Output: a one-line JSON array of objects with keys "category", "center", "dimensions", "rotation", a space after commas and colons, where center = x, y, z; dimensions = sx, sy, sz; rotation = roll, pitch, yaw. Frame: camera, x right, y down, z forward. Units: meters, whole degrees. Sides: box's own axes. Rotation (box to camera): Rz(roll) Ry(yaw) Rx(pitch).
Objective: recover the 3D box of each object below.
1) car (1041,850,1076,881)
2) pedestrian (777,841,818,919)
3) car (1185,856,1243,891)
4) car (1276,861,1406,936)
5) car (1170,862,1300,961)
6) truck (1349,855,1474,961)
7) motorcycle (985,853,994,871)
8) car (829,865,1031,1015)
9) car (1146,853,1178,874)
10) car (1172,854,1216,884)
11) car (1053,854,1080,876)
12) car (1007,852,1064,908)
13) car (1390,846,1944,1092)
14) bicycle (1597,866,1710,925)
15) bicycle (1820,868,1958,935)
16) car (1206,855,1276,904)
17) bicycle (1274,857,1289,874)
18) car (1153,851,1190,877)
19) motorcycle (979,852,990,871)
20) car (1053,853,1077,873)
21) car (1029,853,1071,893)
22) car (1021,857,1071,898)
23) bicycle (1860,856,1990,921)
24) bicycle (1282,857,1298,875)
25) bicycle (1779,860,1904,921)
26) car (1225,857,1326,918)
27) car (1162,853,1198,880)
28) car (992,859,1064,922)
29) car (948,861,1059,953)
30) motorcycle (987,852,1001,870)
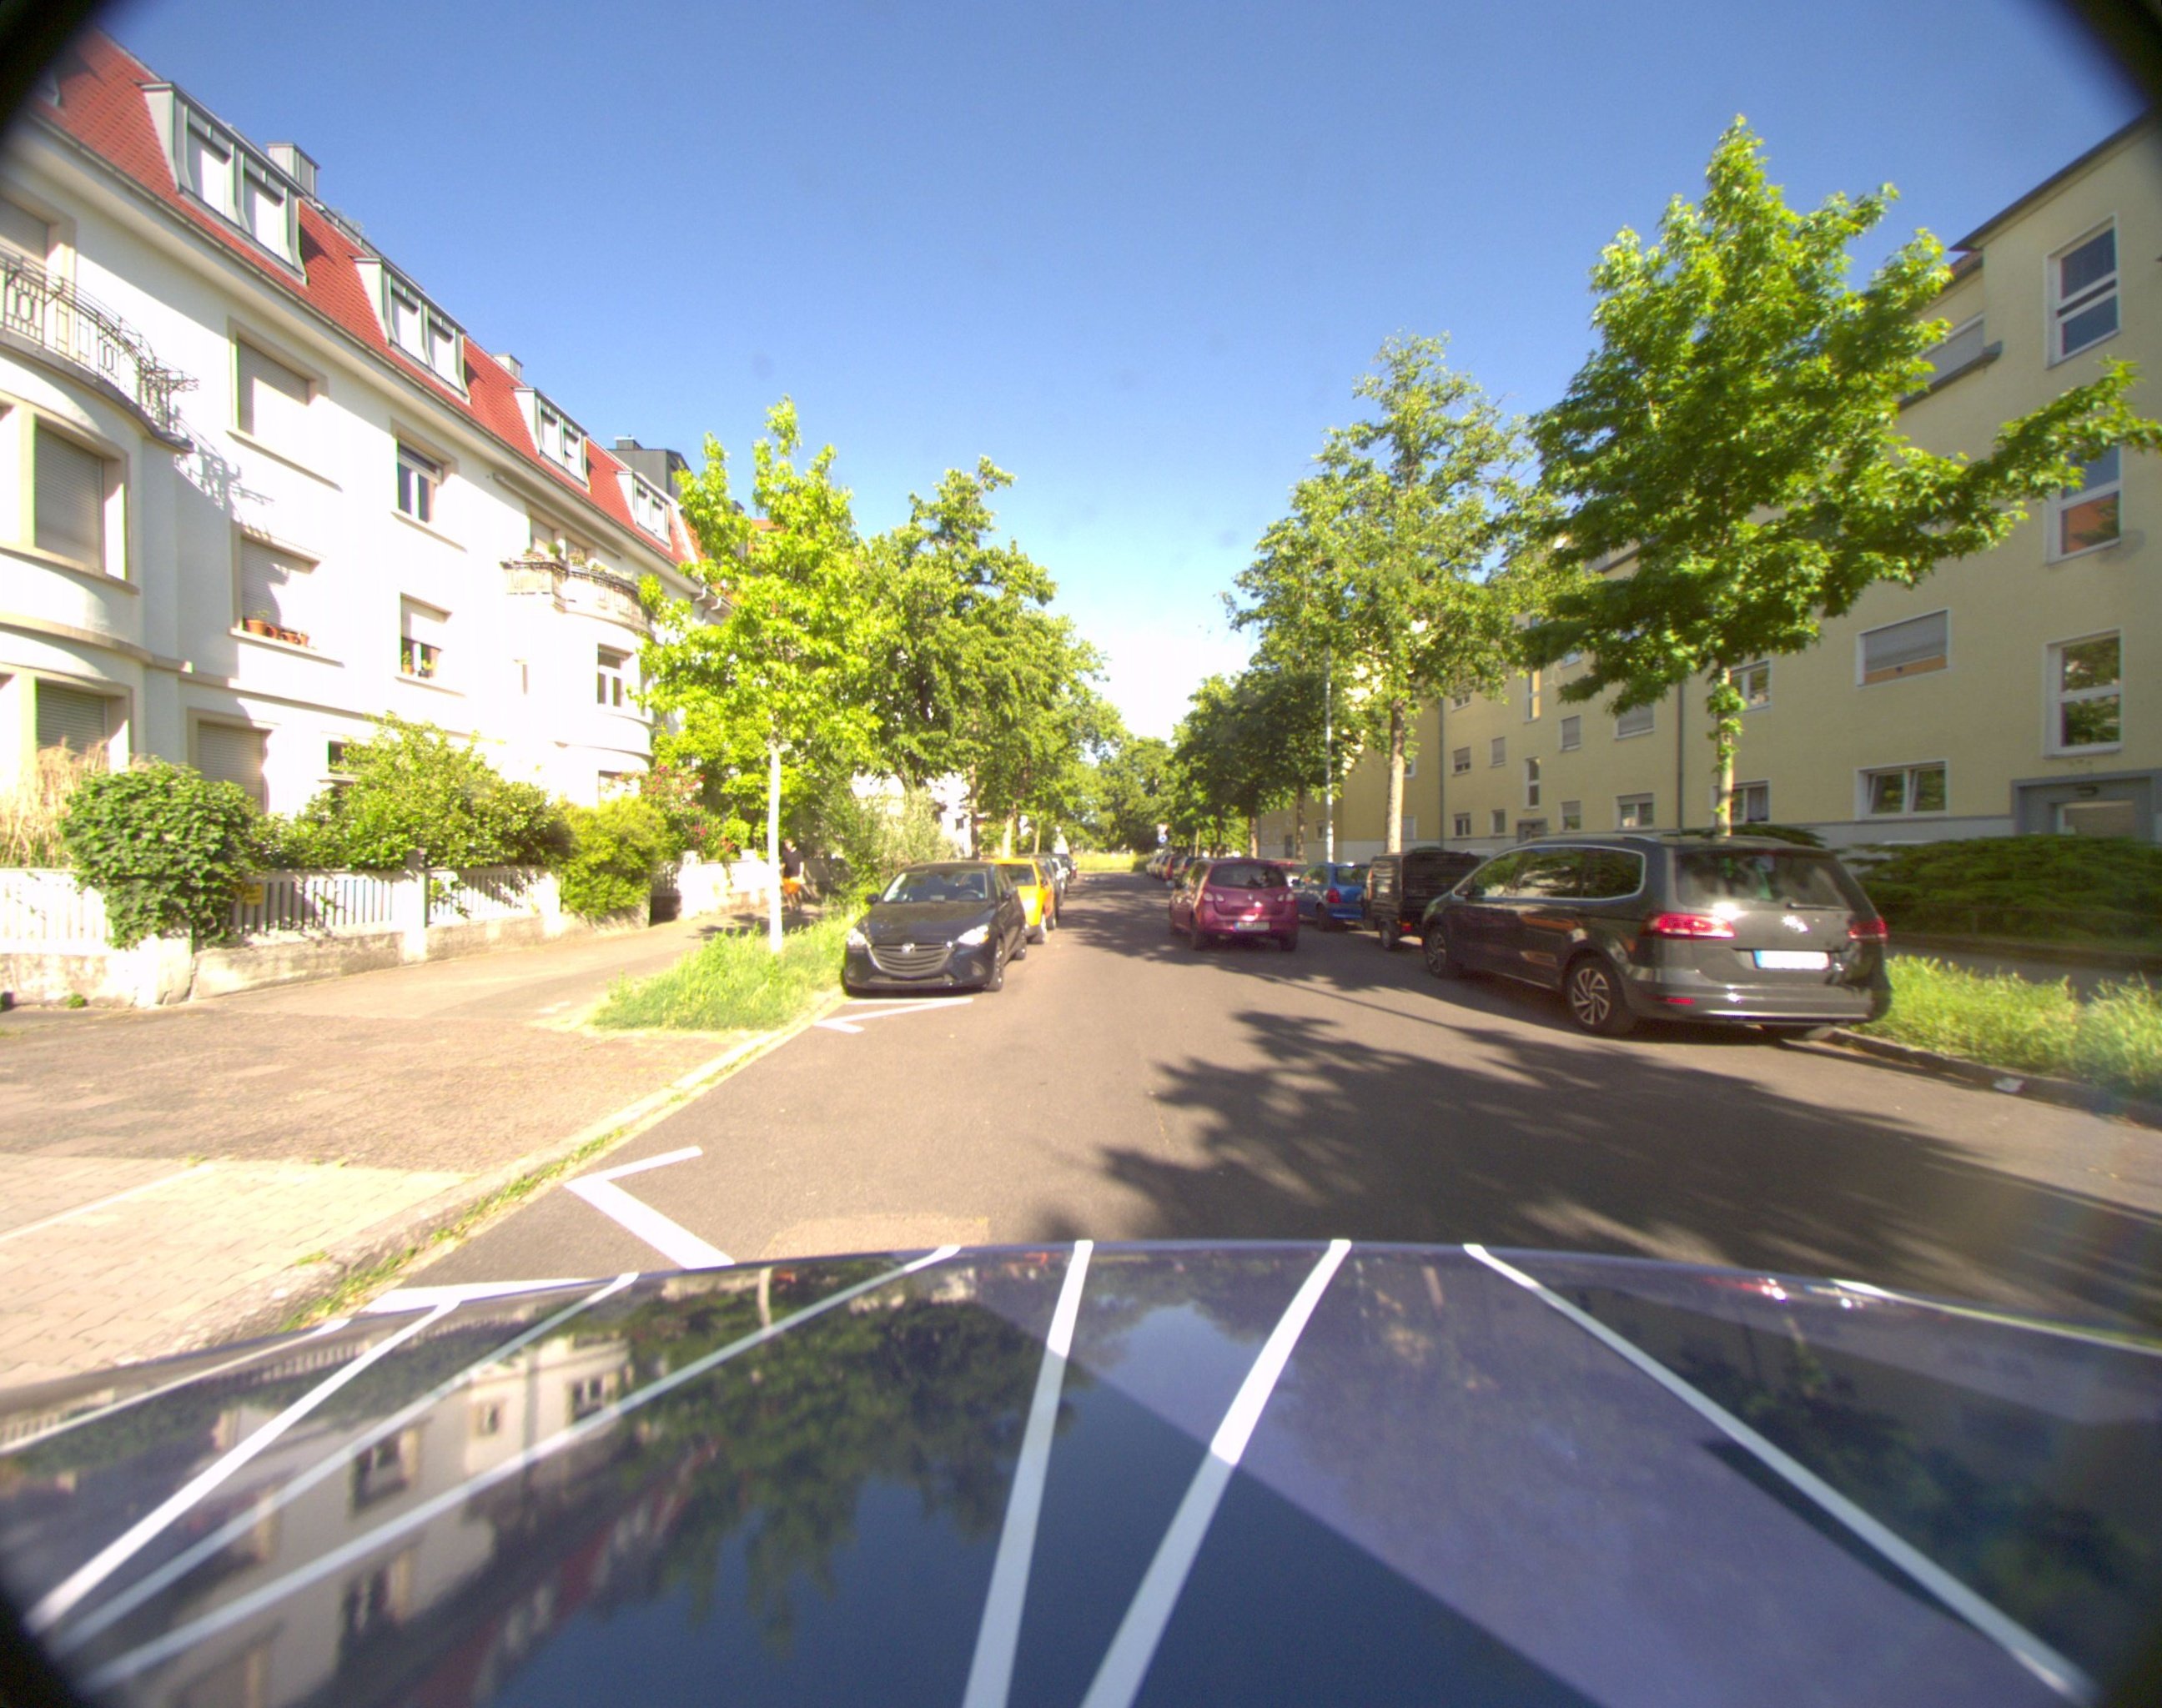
[{"category": "car", "center": [-1.230, 0.609, 43.033], "dimensions": [1.785, 1.688, 4.297], "rotation": [0, 0, 0]}, {"category": "pedestrian", "center": [-6.575, 0.580, 17.646], "dimensions": [0.624, 1.764, 0.799], "rotation": [1, 1, 1]}, {"category": "car", "center": [5.670, 0.797, 32.914], "dimensions": [1.750, 1.361, 4.674], "rotation": [1, 0, 1]}, {"category": "car", "center": [5.495, 0.868, 16.518], "dimensions": [1.524, 1.387, 3.726], "rotation": [0, 0, -1]}, {"category": "car", "center": [2.473, 0.879, 12.878], "dimensions": [1.509, 1.418, 3.177], "rotation": [0, 0, -1]}, {"category": "truck", "center": [5.330, 0.806, 12.493], "dimensions": [1.086, 1.568, 2.432], "rotation": [0, 0, 3]}, {"category": "motorcycle", "center": [-6.864, 0.575, 57.049], "dimensions": [0.658, 1.272, 1.799], "rotation": [1, 0, -6]}, {"category": "car", "center": [-1.674, 0.903, 9.790], "dimensions": [1.704, 1.440, 4.082], "rotation": [0, 0, 1]}, {"category": "car", "center": [5.748, 0.661, 54.294], "dimensions": [1.765, 1.434, 3.993], "rotation": [0, 0, -3]}, {"category": "car", "center": [5.648, 0.730, 38.391], "dimensions": [1.669, 1.450, 3.932], "rotation": [0, 0, 1]}, {"category": "car", "center": [-0.994, 0.680, 50.132], "dimensions": [1.616, 1.401, 4.350], "rotation": [0, 0, -3]}, {"category": "car", "center": [-1.429, 0.763, 24.535], "dimensions": [1.653, 1.646, 3.846], "rotation": [-1, 0, -2]}, {"category": "car", "center": [5.149, 0.805, 7.864], "dimensions": [1.854, 1.671, 4.976], "rotation": [2, 0, 0]}, {"category": "bicycle", "center": [11.624, 0.808, 15.497], "dimensions": [0.487, 1.075, 1.841], "rotation": [-3, 2, -23]}, {"category": "bicycle", "center": [13.583, 0.787, 12.793], "dimensions": [1.844, 1.075, 0.486], "rotation": [0, 1, -2]}, {"category": "car", "center": [5.588, 0.832, 26.977], "dimensions": [1.624, 1.506, 4.269], "rotation": [2, 0, 2]}, {"category": "bicycle", "center": [12.265, 0.695, 46.486], "dimensions": [0.541, 1.021, 1.748], "rotation": [0, 0, 2]}, {"category": "car", "center": [5.627, 0.611, 47.874], "dimensions": [1.696, 1.556, 4.735], "rotation": [0, 0, -1]}, {"category": "motorcycle", "center": [-6.932, 0.541, 54.688], "dimensions": [0.540, 1.353, 2.089], "rotation": [0, 0, 1]}, {"category": "car", "center": [-1.132, 0.633, 54.971], "dimensions": [1.657, 1.394, 4.135], "rotation": [0, 0, 0]}, {"category": "car", "center": [-1.319, 0.803, 33.774], "dimensions": [1.688, 1.579, 4.535], "rotation": [-2, 0, -1]}, {"category": "car", "center": [-1.270, 0.835, 29.178], "dimensions": [1.634, 1.417, 4.368], "rotation": [0, 0, 1]}, {"category": "bicycle", "center": [16.118, 0.653, 14.533], "dimensions": [1.843, 1.139, 0.486], "rotation": [-2, 2, 4]}, {"category": "bicycle", "center": [12.247, 0.701, 44.553], "dimensions": [0.537, 1.021, 1.748], "rotation": [0, 0, 2]}, {"category": "bicycle", "center": [14.663, 0.701, 14.672], "dimensions": [1.843, 1.075, 0.486], "rotation": [-2, 2, 4]}, {"category": "car", "center": [5.319, 0.850, 21.365], "dimensions": [1.796, 1.436, 4.688], "rotation": [1, 0, 2]}, {"category": "car", "center": [5.584, 0.676, 43.291], "dimensions": [1.669, 1.477, 3.256], "rotation": [0, 0, 1]}, {"category": "car", "center": [-1.263, 0.864, 19.413], "dimensions": [1.653, 1.420, 3.612], "rotation": [0, 0, -1]}, {"category": "car", "center": [-1.313, 0.881, 14.351], "dimensions": [1.641, 1.446, 4.099], "rotation": [0, 0, 1]}, {"category": "motorcycle", "center": [-6.756, 0.549, 58.918], "dimensions": [0.973, 1.321, 1.852], "rotation": [-1, 1, -5]}]
